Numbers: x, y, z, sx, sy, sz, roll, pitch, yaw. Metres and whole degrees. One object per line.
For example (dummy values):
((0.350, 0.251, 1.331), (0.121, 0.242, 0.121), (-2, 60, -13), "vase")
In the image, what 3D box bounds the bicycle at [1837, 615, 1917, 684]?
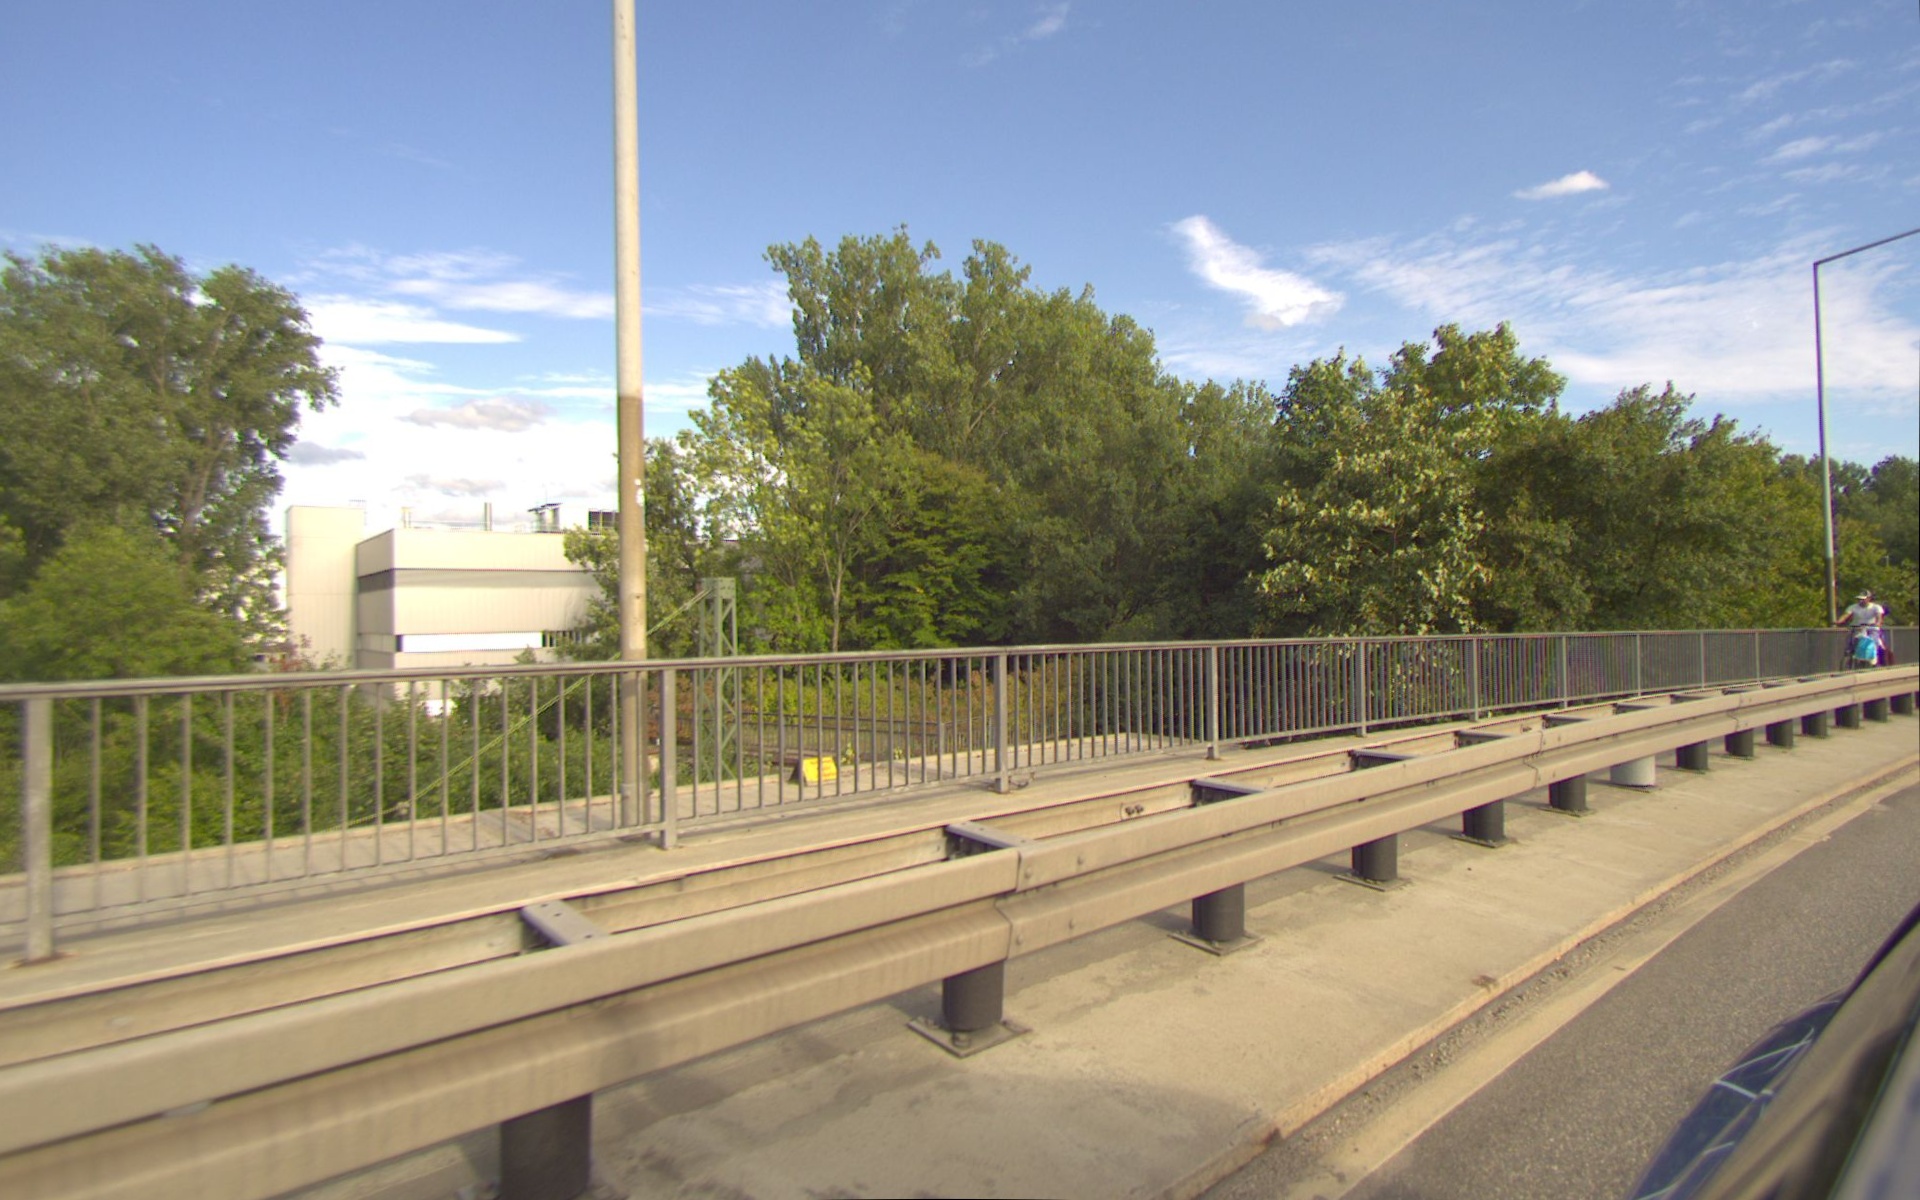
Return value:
((16.170, 0.843, 17.837), (1.663, 1.134, 0.598), (0, 1, -32), "bicycle")

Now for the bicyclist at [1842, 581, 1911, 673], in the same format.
((16.155, 0.458, 17.839), (0.739, 1.576, 0.710), (0, 0, -32), "bicyclist")

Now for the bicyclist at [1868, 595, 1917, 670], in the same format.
((16.665, 0.571, 18.086), (0.528, 1.317, 0.502), (0, 0, -32), "bicyclist")
